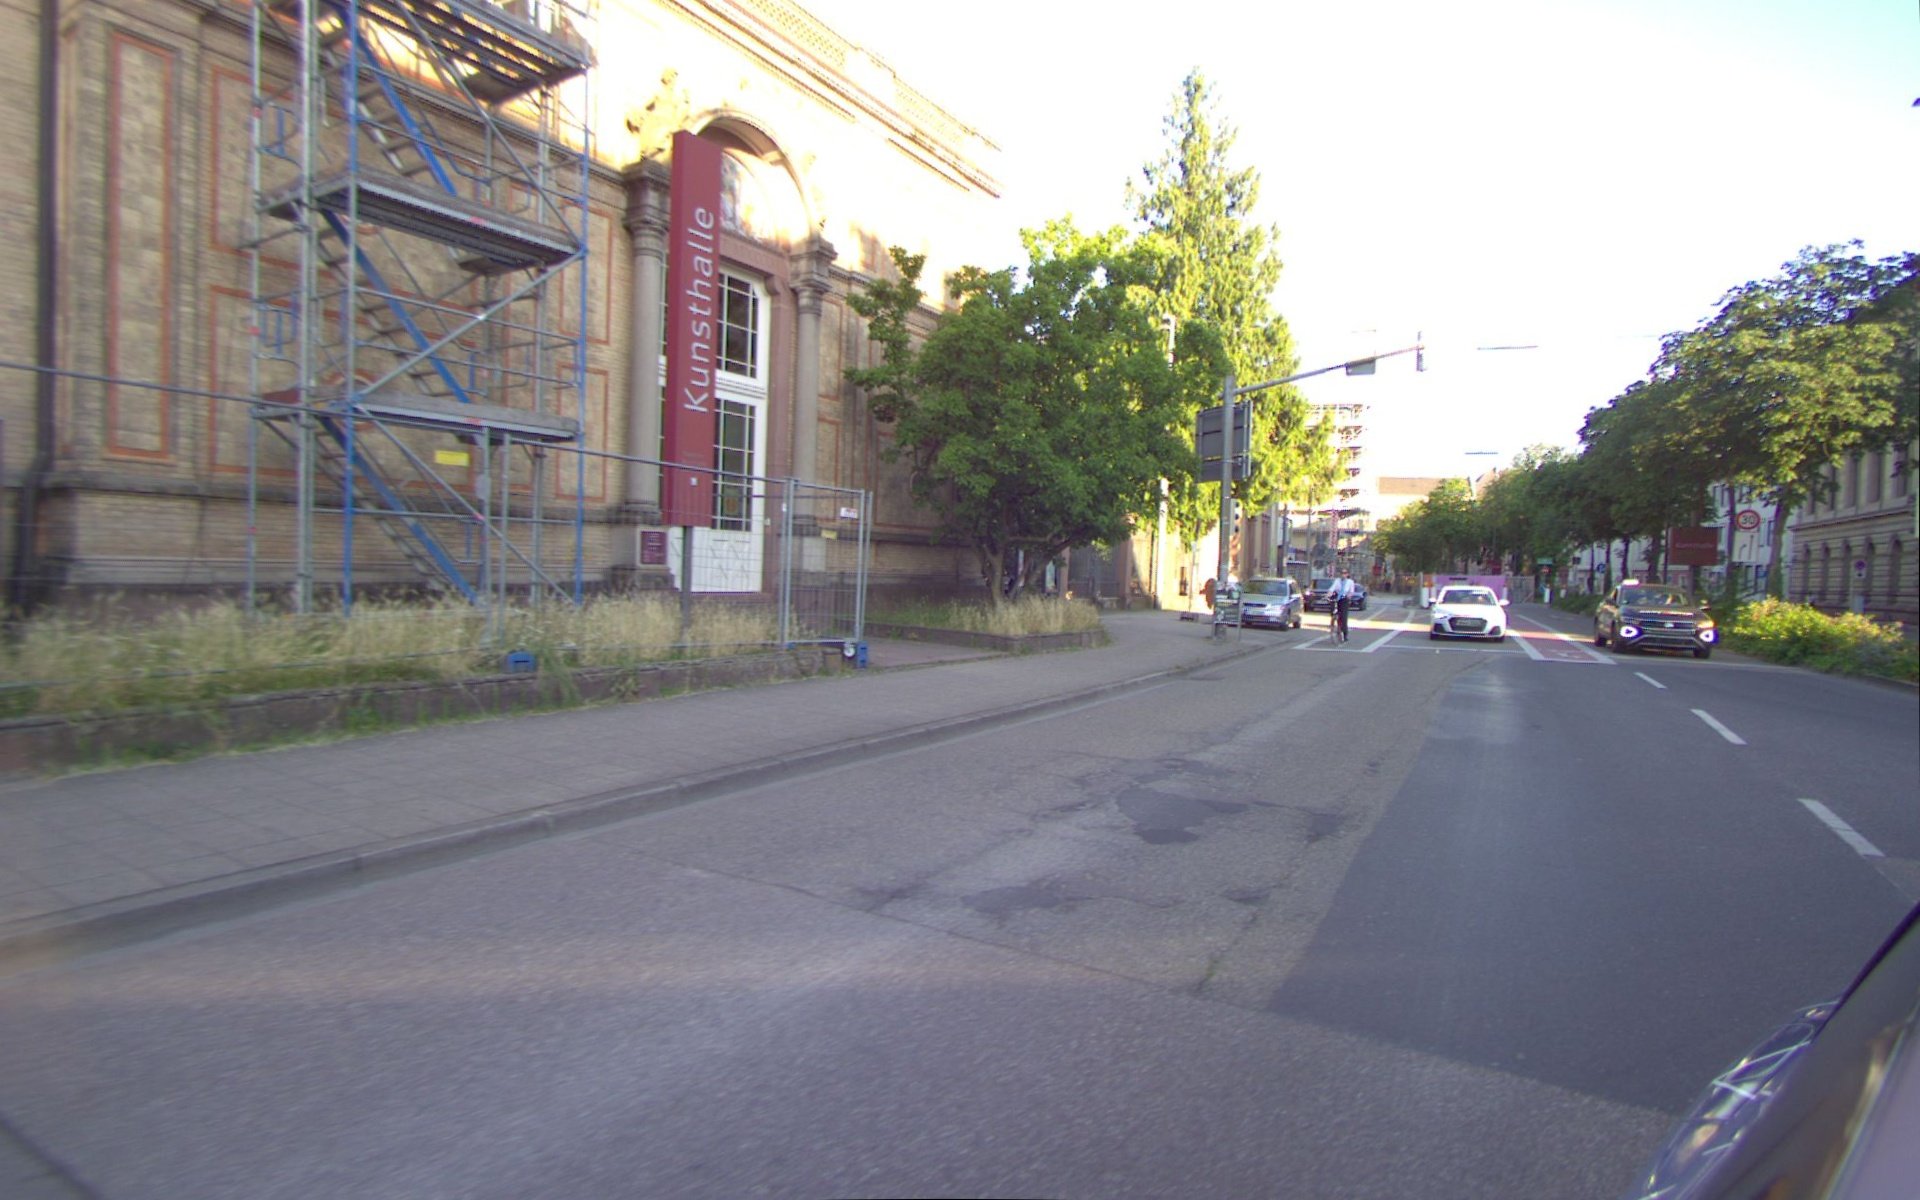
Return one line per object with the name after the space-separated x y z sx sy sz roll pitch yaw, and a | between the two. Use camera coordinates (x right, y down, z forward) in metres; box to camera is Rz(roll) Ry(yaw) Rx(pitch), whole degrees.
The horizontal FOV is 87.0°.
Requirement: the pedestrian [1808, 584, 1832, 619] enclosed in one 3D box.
48.376 0.071 56.936 0.767 1.875 0.804 3 2 27 | pedestrian

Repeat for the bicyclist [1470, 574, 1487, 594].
32.885 -1.017 64.179 0.782 1.238 0.591 1 2 -30 | bicyclist

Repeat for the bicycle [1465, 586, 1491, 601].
32.874 -0.413 64.214 1.712 0.850 0.591 1 2 -29 | bicycle

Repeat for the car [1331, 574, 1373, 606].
20.104 -0.550 51.764 1.671 1.510 4.041 2 2 26 | car

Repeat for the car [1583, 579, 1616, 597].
66.067 -1.263 104.561 1.693 1.679 3.809 3 2 15 | car

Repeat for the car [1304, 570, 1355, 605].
17.174 -0.615 46.984 1.816 1.510 4.041 2 2 26 | car

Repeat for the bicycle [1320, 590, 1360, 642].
8.772 0.348 23.330 0.492 1.114 1.648 1 2 34 | bicycle

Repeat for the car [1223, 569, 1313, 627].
8.965 -0.106 29.253 1.699 1.462 4.159 3 3 27 | car

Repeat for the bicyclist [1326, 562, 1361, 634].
8.951 -0.060 23.624 0.663 1.664 0.514 1 1 35 | bicyclist

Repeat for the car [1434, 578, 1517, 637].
13.707 0.134 27.069 1.816 1.408 3.987 2 2 26 | car

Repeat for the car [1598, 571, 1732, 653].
15.883 0.191 23.016 1.816 1.632 4.041 2 2 26 | car
